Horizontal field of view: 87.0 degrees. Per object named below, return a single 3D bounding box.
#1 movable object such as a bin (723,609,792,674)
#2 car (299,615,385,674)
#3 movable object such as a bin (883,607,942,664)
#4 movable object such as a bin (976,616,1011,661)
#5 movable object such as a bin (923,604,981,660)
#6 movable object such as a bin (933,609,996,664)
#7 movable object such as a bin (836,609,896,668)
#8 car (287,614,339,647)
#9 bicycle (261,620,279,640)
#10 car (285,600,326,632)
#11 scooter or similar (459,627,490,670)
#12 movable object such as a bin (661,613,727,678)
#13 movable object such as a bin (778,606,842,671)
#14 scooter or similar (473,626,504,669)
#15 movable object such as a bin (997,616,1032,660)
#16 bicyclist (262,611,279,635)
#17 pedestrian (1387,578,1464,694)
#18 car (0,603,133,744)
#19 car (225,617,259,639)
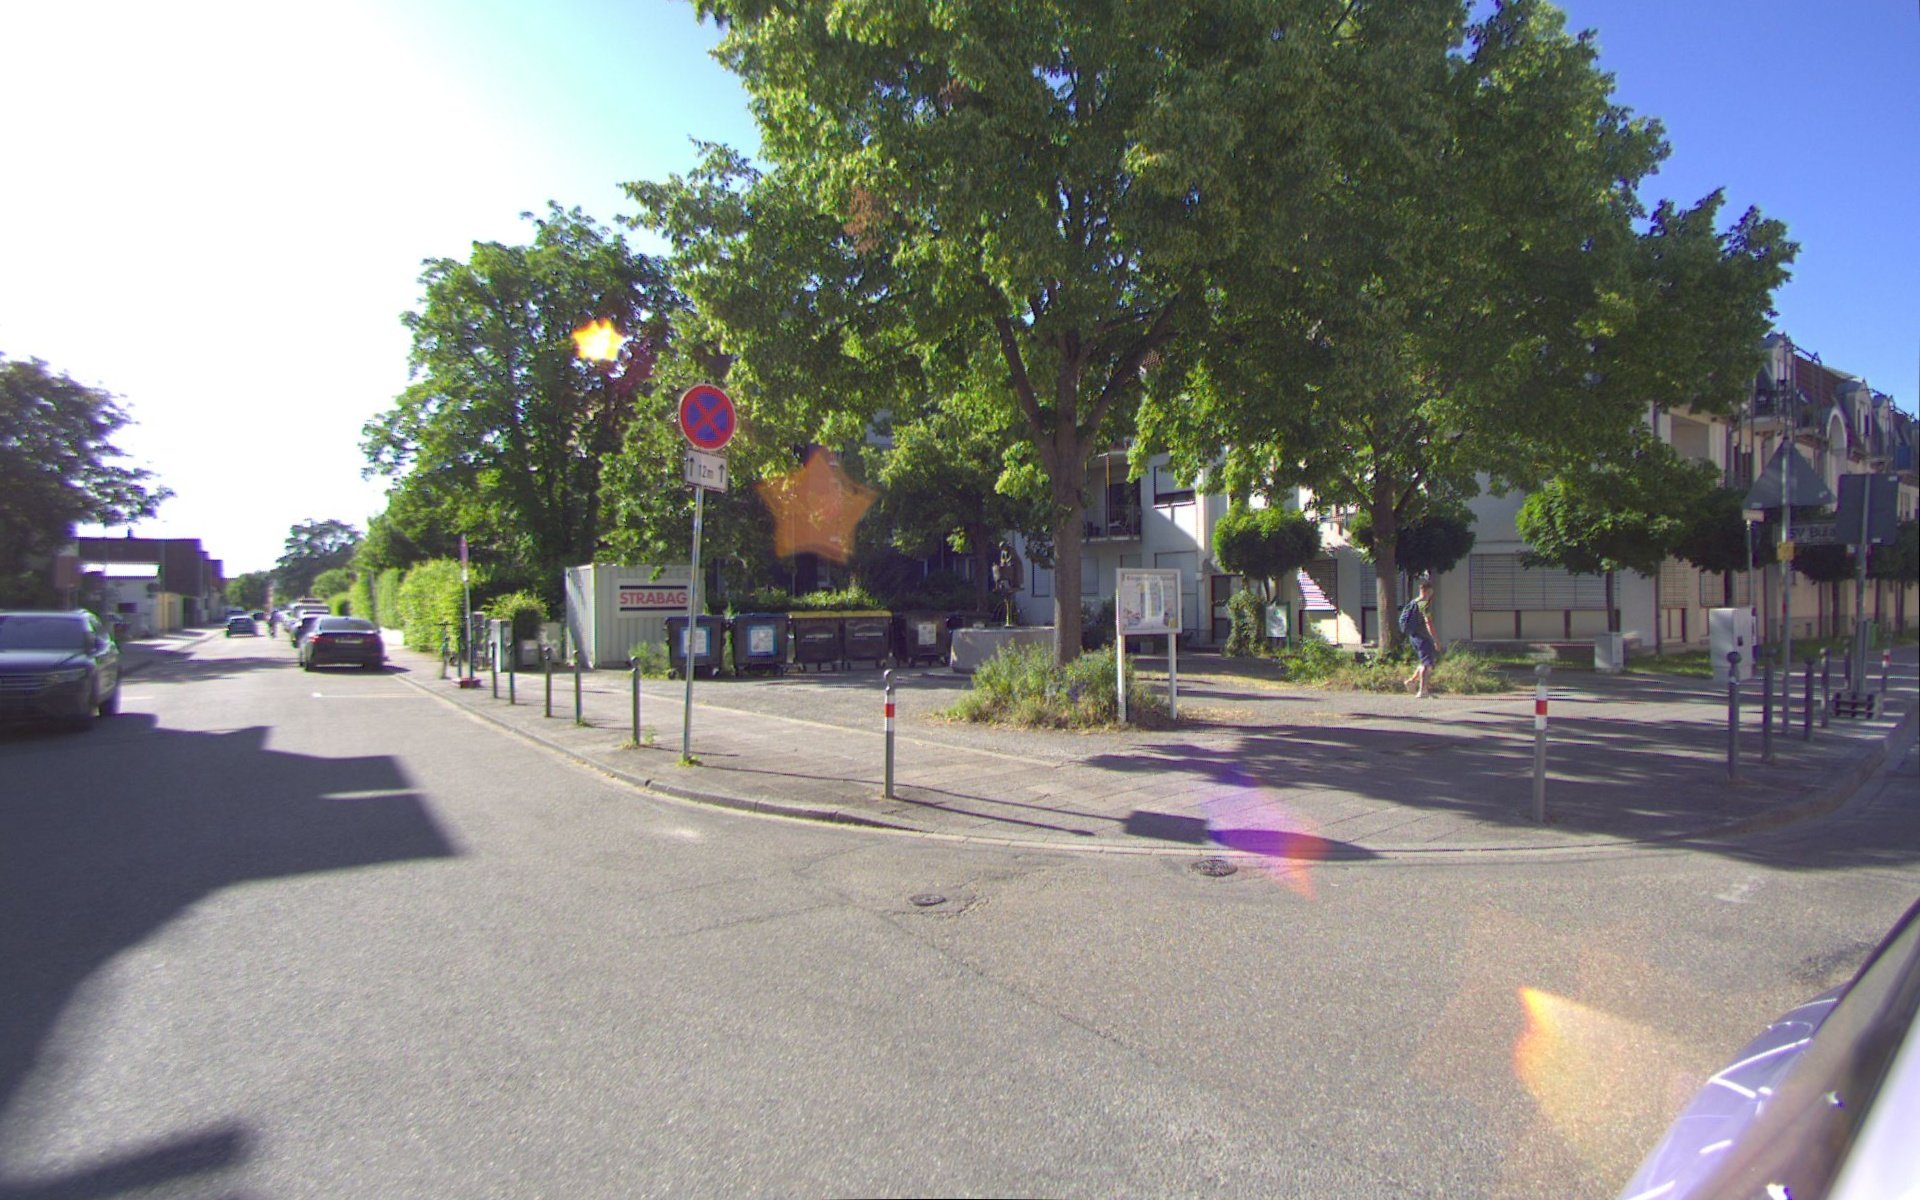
[{"bbox_3d":[-4.217,0.857,21.071,1.125,1.275,0.972,-1,-3,-28],"label":"movable object such as a bin"},{"bbox_3d":[-17.253,1.172,28.166,1.759,1.493,4.133,0,-1,-35],"label":"car"},{"bbox_3d":[-1.101,0.831,23.497,0.995,1.272,0.972,-1,-3,-28],"label":"movable object such as a bin"},{"bbox_3d":[0.849,0.992,25.720,0.549,1.107,0.710,-1,-3,-28],"label":"movable object such as a bin"},{"bbox_3d":[-0.199,0.766,23.992,0.995,1.272,0.972,-1,-3,-28],"label":"movable object such as a bin"},{"bbox_3d":[0.117,0.877,24.601,1.024,1.272,1.116,-5,-3,38],"label":"movable object such as a bin"},{"bbox_3d":[-2.140,0.869,22.929,0.995,1.272,0.972,-1,-3,-28],"label":"movable object such as a bin"},{"bbox_3d":[-29.087,1.329,45.447,1.759,1.375,4.133,0,-1,-35],"label":"car"},{"bbox_3d":[-37.537,1.622,55.055,0.709,1.063,2.221,2,-2,-35],"label":"bicycle"},{"bbox_3d":[-37.488,0.909,57.932,1.758,1.760,4.133,2,-2,-35],"label":"car"},{"bbox_3d":[-12.399,1.242,25.839,0.496,1.057,1.641,-1,-3,-32],"label":"scooter or similar"},{"bbox_3d":[-5.500,0.919,20.892,1.083,1.271,0.973,-1,0,-28],"label":"movable object such as a bin"},{"bbox_3d":[-3.317,0.853,22.288,1.083,1.358,0.972,-1,-3,-28],"label":"movable object such as a bin"},{"bbox_3d":[-12.046,1.225,25.837,0.496,1.057,1.641,-1,-3,-32],"label":"scooter or similar"},{"bbox_3d":[1.405,0.977,26.062,0.549,1.107,0.710,-1,-3,-28],"label":"movable object such as a bin"},{"bbox_3d":[-37.486,1.265,55.014,0.709,1.284,0.836,2,-2,-36],"label":"bicyclist"},{"bbox_3d":[7.225,0.546,15.718,0.810,1.739,0.661,-1,-1,-7],"label":"pedestrian"},{"bbox_3d":[-13.239,0.962,14.406,1.920,1.705,4.274,-4,1,-35],"label":"car"},{"bbox_3d":[-46.559,1.805,65.619,1.759,1.375,4.133,0,-1,-35],"label":"car"}]
